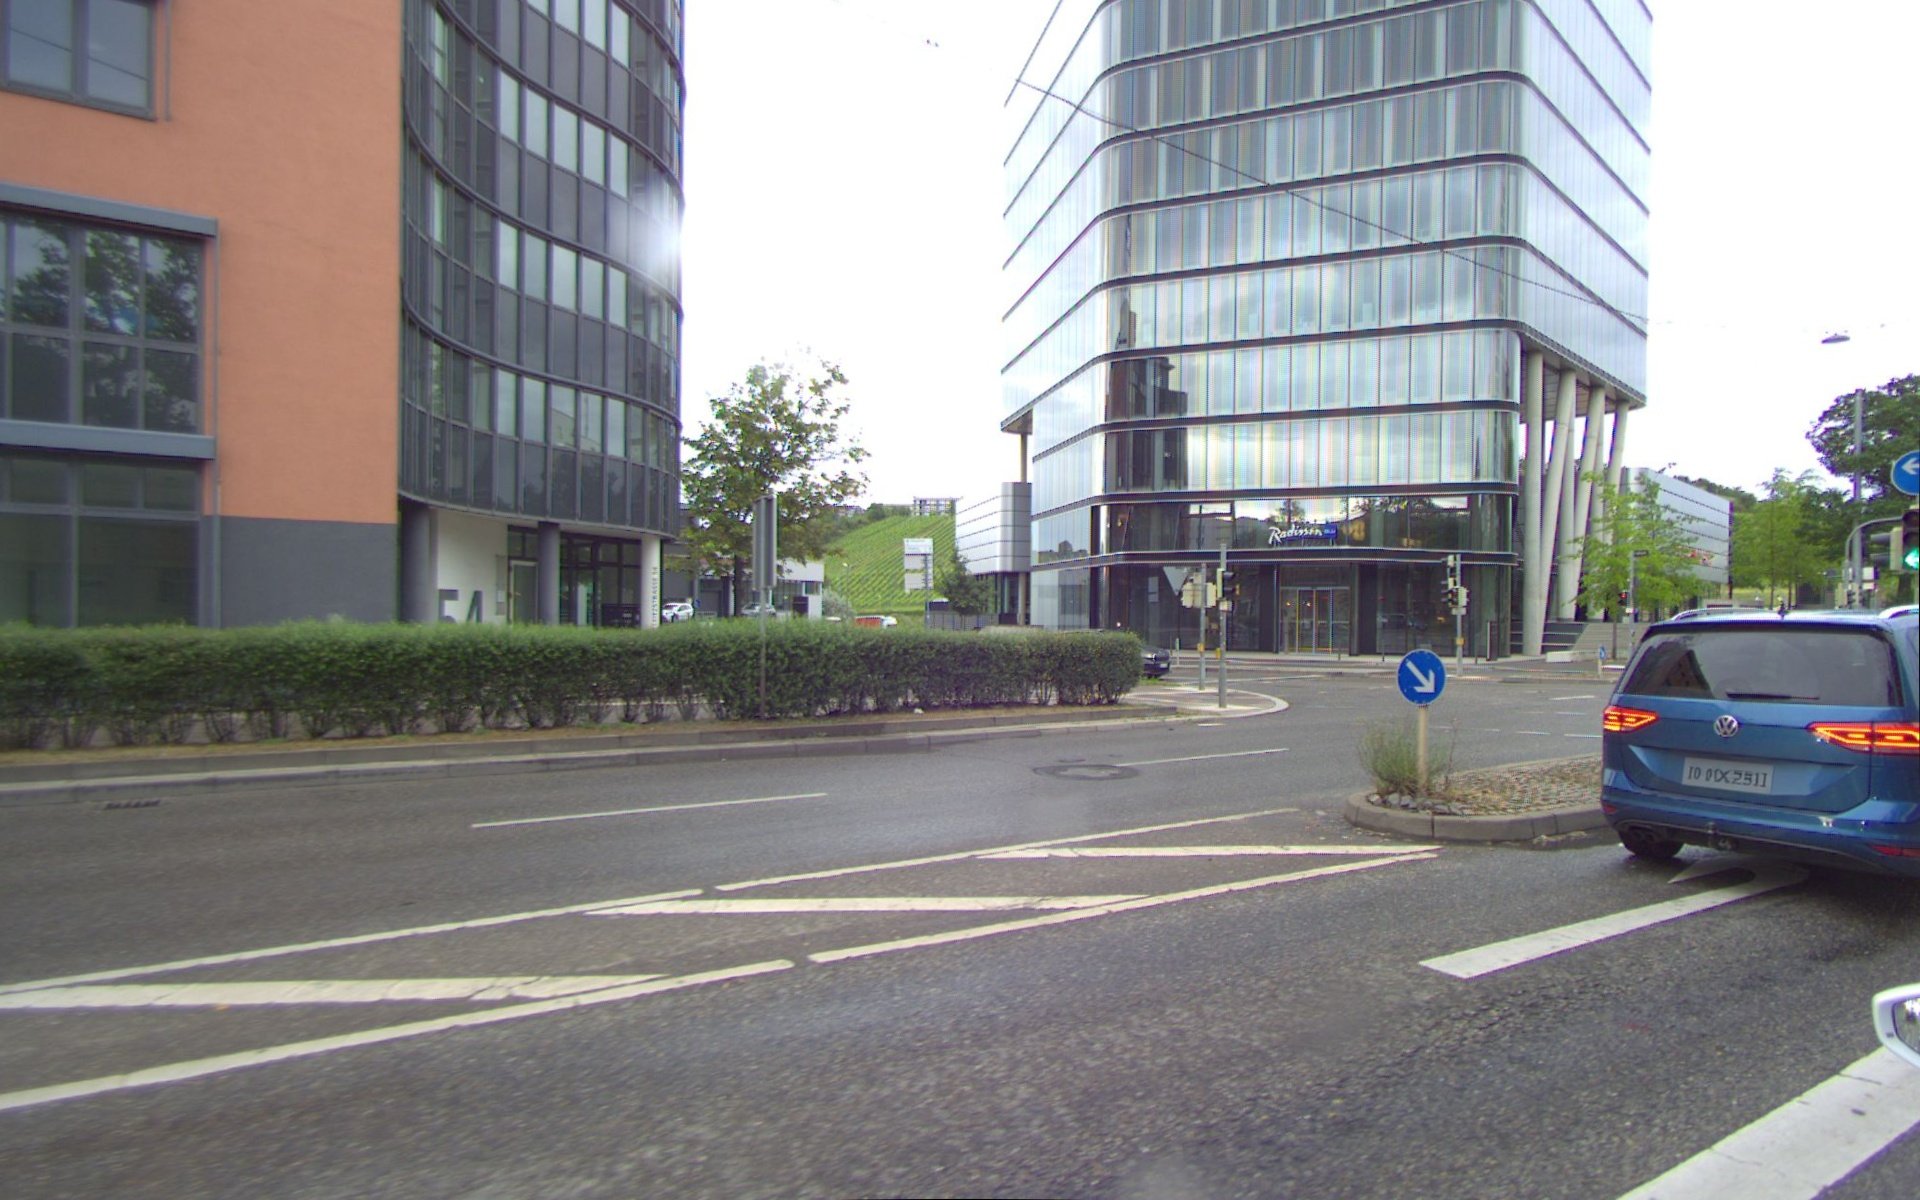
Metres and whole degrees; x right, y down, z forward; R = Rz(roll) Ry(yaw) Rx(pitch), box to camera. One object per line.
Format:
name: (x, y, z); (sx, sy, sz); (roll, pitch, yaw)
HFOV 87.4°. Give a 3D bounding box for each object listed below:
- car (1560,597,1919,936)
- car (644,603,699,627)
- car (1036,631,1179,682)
car: (5.998, 0.850, 6.554); (4.146, 1.617, 1.765); (1, -1, -29)
car: (-20.370, 1.078, 71.084); (1.782, 1.672, 3.814); (0, -2, 23)
car: (4.766, 1.807, 32.835); (4.307, 1.530, 1.848); (-2, -1, 40)
